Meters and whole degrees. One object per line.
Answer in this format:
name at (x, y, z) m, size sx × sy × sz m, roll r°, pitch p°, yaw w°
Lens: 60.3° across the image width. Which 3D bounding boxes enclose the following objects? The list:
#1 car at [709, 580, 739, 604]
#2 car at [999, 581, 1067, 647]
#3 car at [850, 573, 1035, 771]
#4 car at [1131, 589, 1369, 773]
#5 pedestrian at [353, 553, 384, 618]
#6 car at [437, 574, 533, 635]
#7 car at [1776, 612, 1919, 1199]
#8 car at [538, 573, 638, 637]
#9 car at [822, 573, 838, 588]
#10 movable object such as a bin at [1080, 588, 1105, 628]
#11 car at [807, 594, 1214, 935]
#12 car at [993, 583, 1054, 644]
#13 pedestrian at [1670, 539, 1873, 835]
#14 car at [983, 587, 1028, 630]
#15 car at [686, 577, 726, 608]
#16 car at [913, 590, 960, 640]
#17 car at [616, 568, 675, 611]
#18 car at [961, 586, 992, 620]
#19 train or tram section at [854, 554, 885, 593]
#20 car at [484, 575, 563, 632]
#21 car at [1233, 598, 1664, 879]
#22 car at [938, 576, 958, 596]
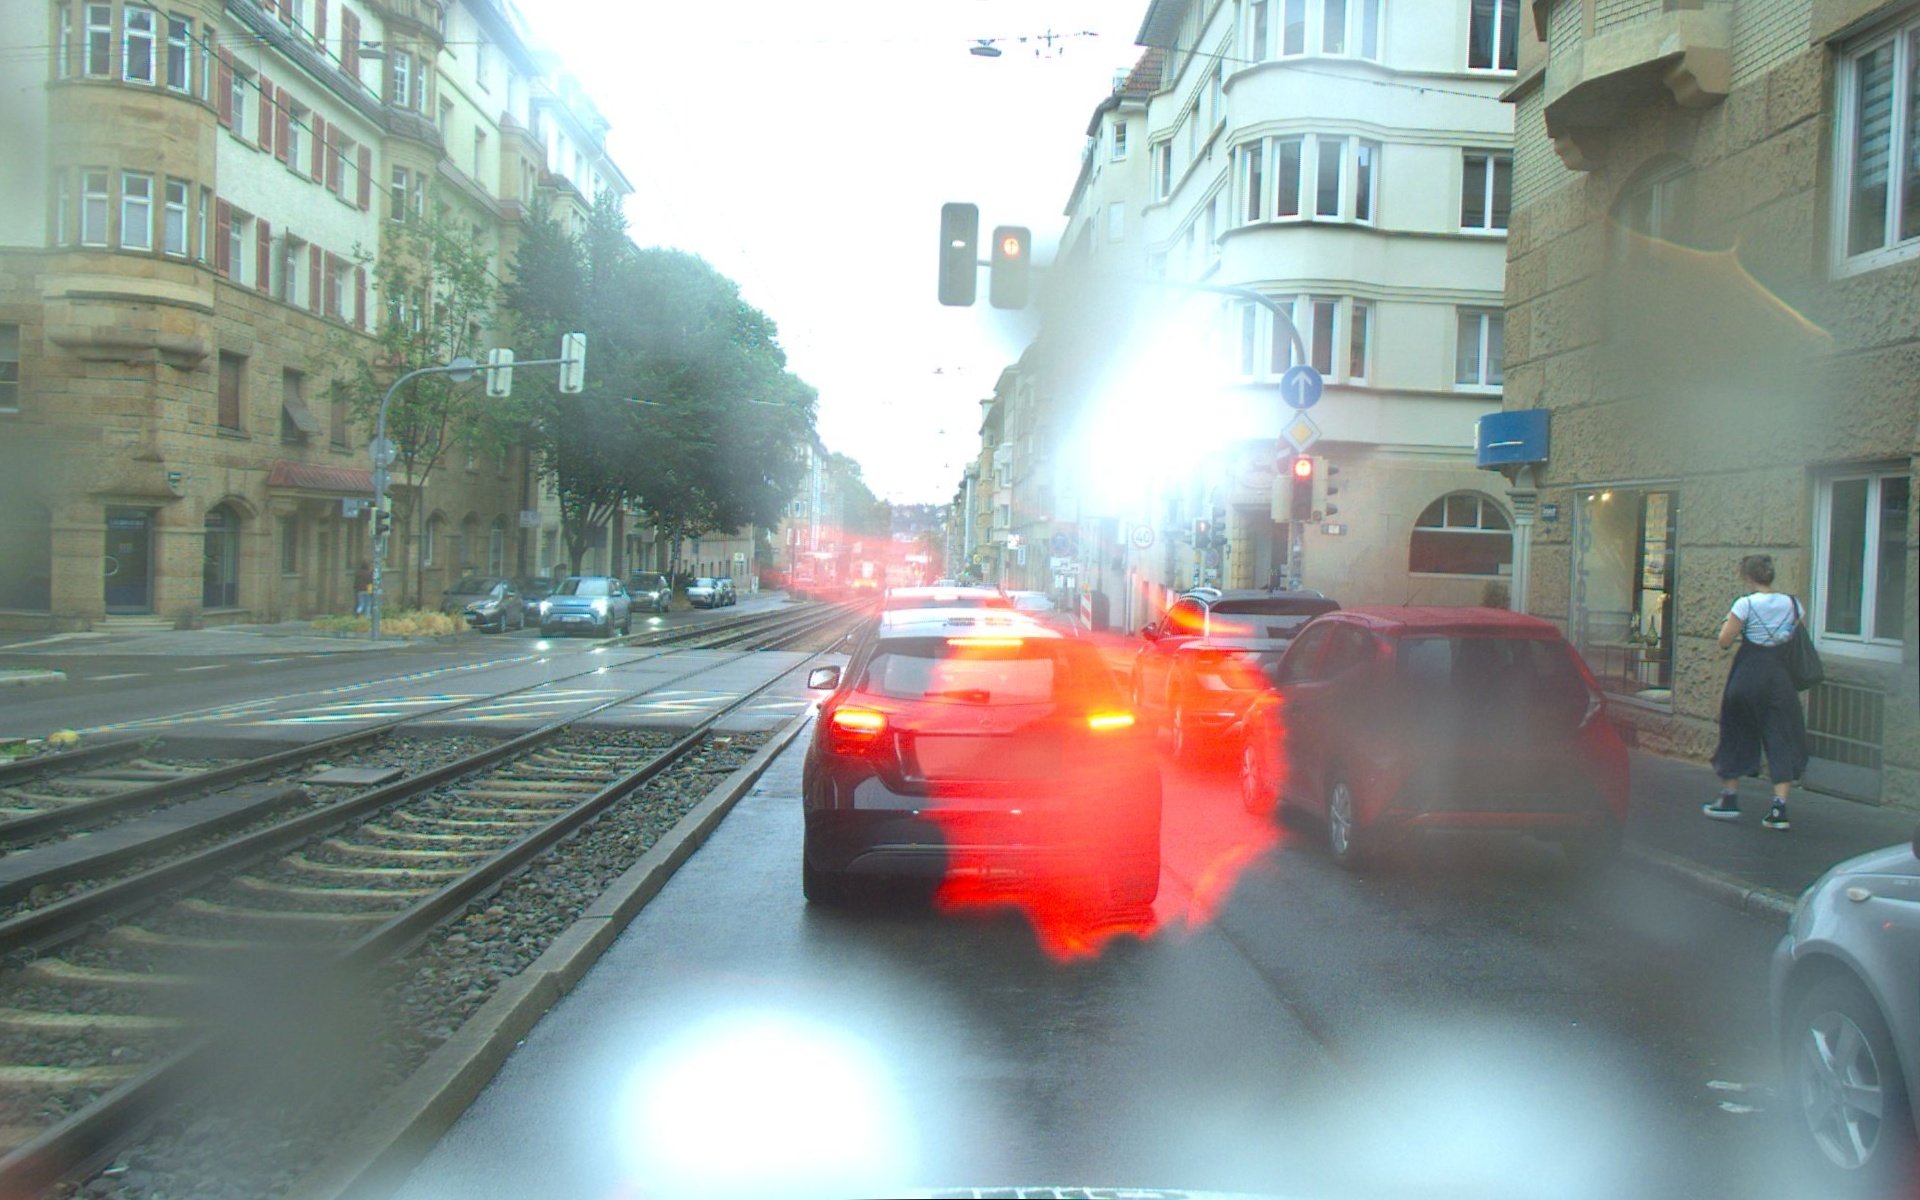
car at (-14.023, -0.461, 98.360) m, size 1.419 × 1.354 × 3.270 m, roll 1°, pitch 0°, yaw -3°
car at (1.842, 0.338, 42.656) m, size 1.513 × 1.618 × 3.547 m, roll 1°, pitch 0°, yaw -1°
car at (-0.172, 0.614, 15.825) m, size 1.533 × 1.637 × 3.813 m, roll 1°, pitch 0°, yaw -1°
car at (2.635, 0.673, 15.786) m, size 1.513 × 1.512 × 3.829 m, roll 1°, pitch 0°, yaw -1°
pedestrian at (-15.661, -0.382, 43.814) m, size 0.619 × 1.702 × 0.701 m, roll 1°, pitch -1°, yaw -9°
car at (-13.009, 0.121, 45.485) m, size 1.718 × 1.579 × 4.032 m, roll 1°, pitch 0°, yaw -4°
car at (3.128, 0.787, 3.091) m, size 1.581 × 1.493 × 3.312 m, roll 0°, pitch 0°, yaw 0°
car at (-10.045, 0.136, 44.916) m, size 1.860 × 1.615 × 3.972 m, roll 1°, pitch 0°, yaw -1°
car at (-12.142, -1.810, 155.091) m, size 1.349 × 1.271 × 3.296 m, roll 1°, pitch 0°, yaw -2°
movable object such as a bin at (4.766, 0.283, 59.633) m, size 0.859 × 1.413 × 0.983 m, roll 1°, pitch -1°, yaw 3°
car at (0.195, 0.731, 9.441) m, size 1.792 × 1.483 × 4.103 m, roll 1°, pitch 0°, yaw -1°
car at (1.772, 0.363, 47.130) m, size 1.513 × 1.618 × 3.547 m, roll 1°, pitch 0°, yaw -1°
pedestrian at (5.155, 0.529, 10.570) m, size 0.726 × 1.778 × 1.111 m, roll 1°, pitch -1°, yaw -1°
car at (1.666, 0.307, 61.539) m, size 1.513 × 1.512 × 3.547 m, roll 1°, pitch 0°, yaw -1°
car at (-13.655, -0.403, 88.956) m, size 1.557 × 1.608 × 3.917 m, roll 1°, pitch 0°, yaw -1°
car at (-0.796, 0.506, 57.874) m, size 1.513 × 1.664 × 3.686 m, roll 1°, pitch 0°, yaw 0°
car at (-13.560, -0.427, 71.494) m, size 1.837 × 1.767 × 3.917 m, roll 1°, pitch 0°, yaw -1°
car at (0.725, 0.110, 73.596) m, size 1.268 × 1.467 × 2.928 m, roll 1°, pitch 0°, yaw -1°
train or tram section at (-9.561, -2.762, 175.539) m, size 2.726 × 3.928 × 10.427 m, roll 1°, pitch 0°, yaw -1°
car at (-13.274, 0.101, 50.512) m, size 1.683 × 1.639 × 3.914 m, roll 1°, pitch 0°, yaw -5°
car at (2.910, 0.746, 10.551) m, size 1.609 × 1.473 × 3.297 m, roll 1°, pitch 0°, yaw -3°
car at (-1.224, -1.435, 170.305) m, size 1.953 × 1.909 × 3.999 m, roll 1°, pitch 0°, yaw -1°
